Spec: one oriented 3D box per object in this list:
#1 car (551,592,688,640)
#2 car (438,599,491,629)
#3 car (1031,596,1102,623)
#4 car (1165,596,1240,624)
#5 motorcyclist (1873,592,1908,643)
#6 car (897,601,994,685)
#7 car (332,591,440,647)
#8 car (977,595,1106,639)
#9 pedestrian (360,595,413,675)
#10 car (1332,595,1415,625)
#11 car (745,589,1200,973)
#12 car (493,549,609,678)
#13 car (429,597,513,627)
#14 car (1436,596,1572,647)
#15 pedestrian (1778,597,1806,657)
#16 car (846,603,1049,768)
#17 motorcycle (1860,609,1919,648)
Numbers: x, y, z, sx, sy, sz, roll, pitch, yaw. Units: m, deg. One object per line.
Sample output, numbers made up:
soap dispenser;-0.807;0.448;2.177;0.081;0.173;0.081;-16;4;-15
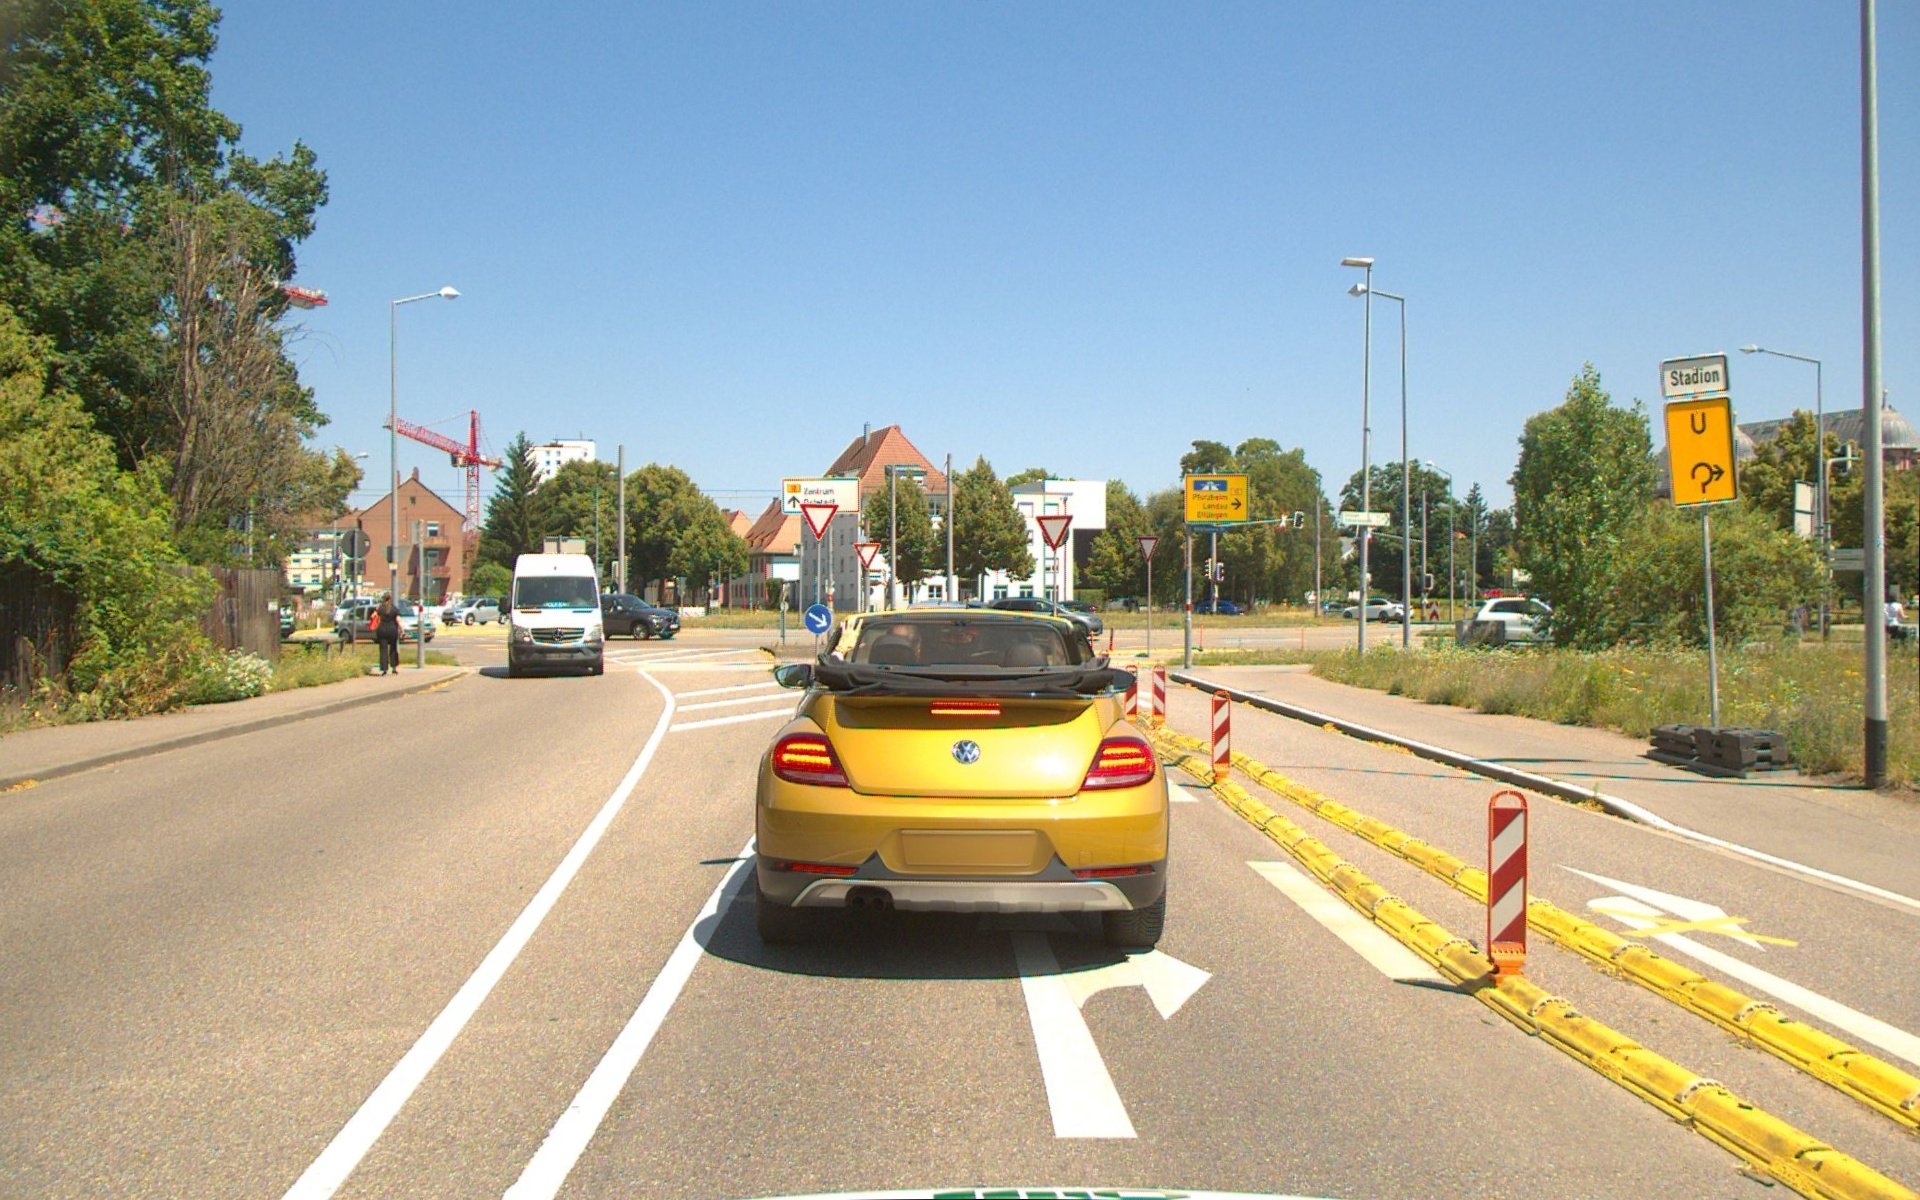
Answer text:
car;-12.083;0.575;58.811;4.338;1.624;2.002;1;0;10
car;-27.116;0.751;90.567;1.720;1.576;3.999;1;0;-1
car;7.510;0.659;116.636;4.811;1.817;2.028;-1;0;10
car;16.569;0.686;112.965;4.812;1.817;2.028;-1;0;17
motorcyclist;24.043;0.450;42.737;0.606;1.312;0.576;1;-1;-30
car;-0.278;0.770;31.111;1.701;1.467;3.999;1;0;-1
car;-20.363;0.688;58.686;3.596;1.882;1.630;-2;-1;29
car;2.798;0.574;56.605;4.104;1.415;1.903;1;0;15
pedestrian;-11.599;0.709;33.455;0.792;1.590;0.876;1;0;-5
car;26.012;0.664;104.120;2.001;1.817;5.123;-1;0;-32
car;0.019;0.697;8.184;1.717;1.447;3.776;1;0;-1
car;-9.213;0.278;36.882;1.989;2.583;6.792;-1;0;-18
car;-31.051;0.767;105.136;1.989;1.817;4.874;-1;0;40
car;17.513;0.685;53.377;3.902;1.579;1.741;1;0;8
pedestrian;22.308;0.732;44.375;0.487;1.590;0.514;1;-1;-1
car;-0.132;0.776;16.853;1.810;1.467;3.999;1;0;-1
motorcycle;24.018;0.742;42.690;1.685;0.987;0.625;1;-1;-30
